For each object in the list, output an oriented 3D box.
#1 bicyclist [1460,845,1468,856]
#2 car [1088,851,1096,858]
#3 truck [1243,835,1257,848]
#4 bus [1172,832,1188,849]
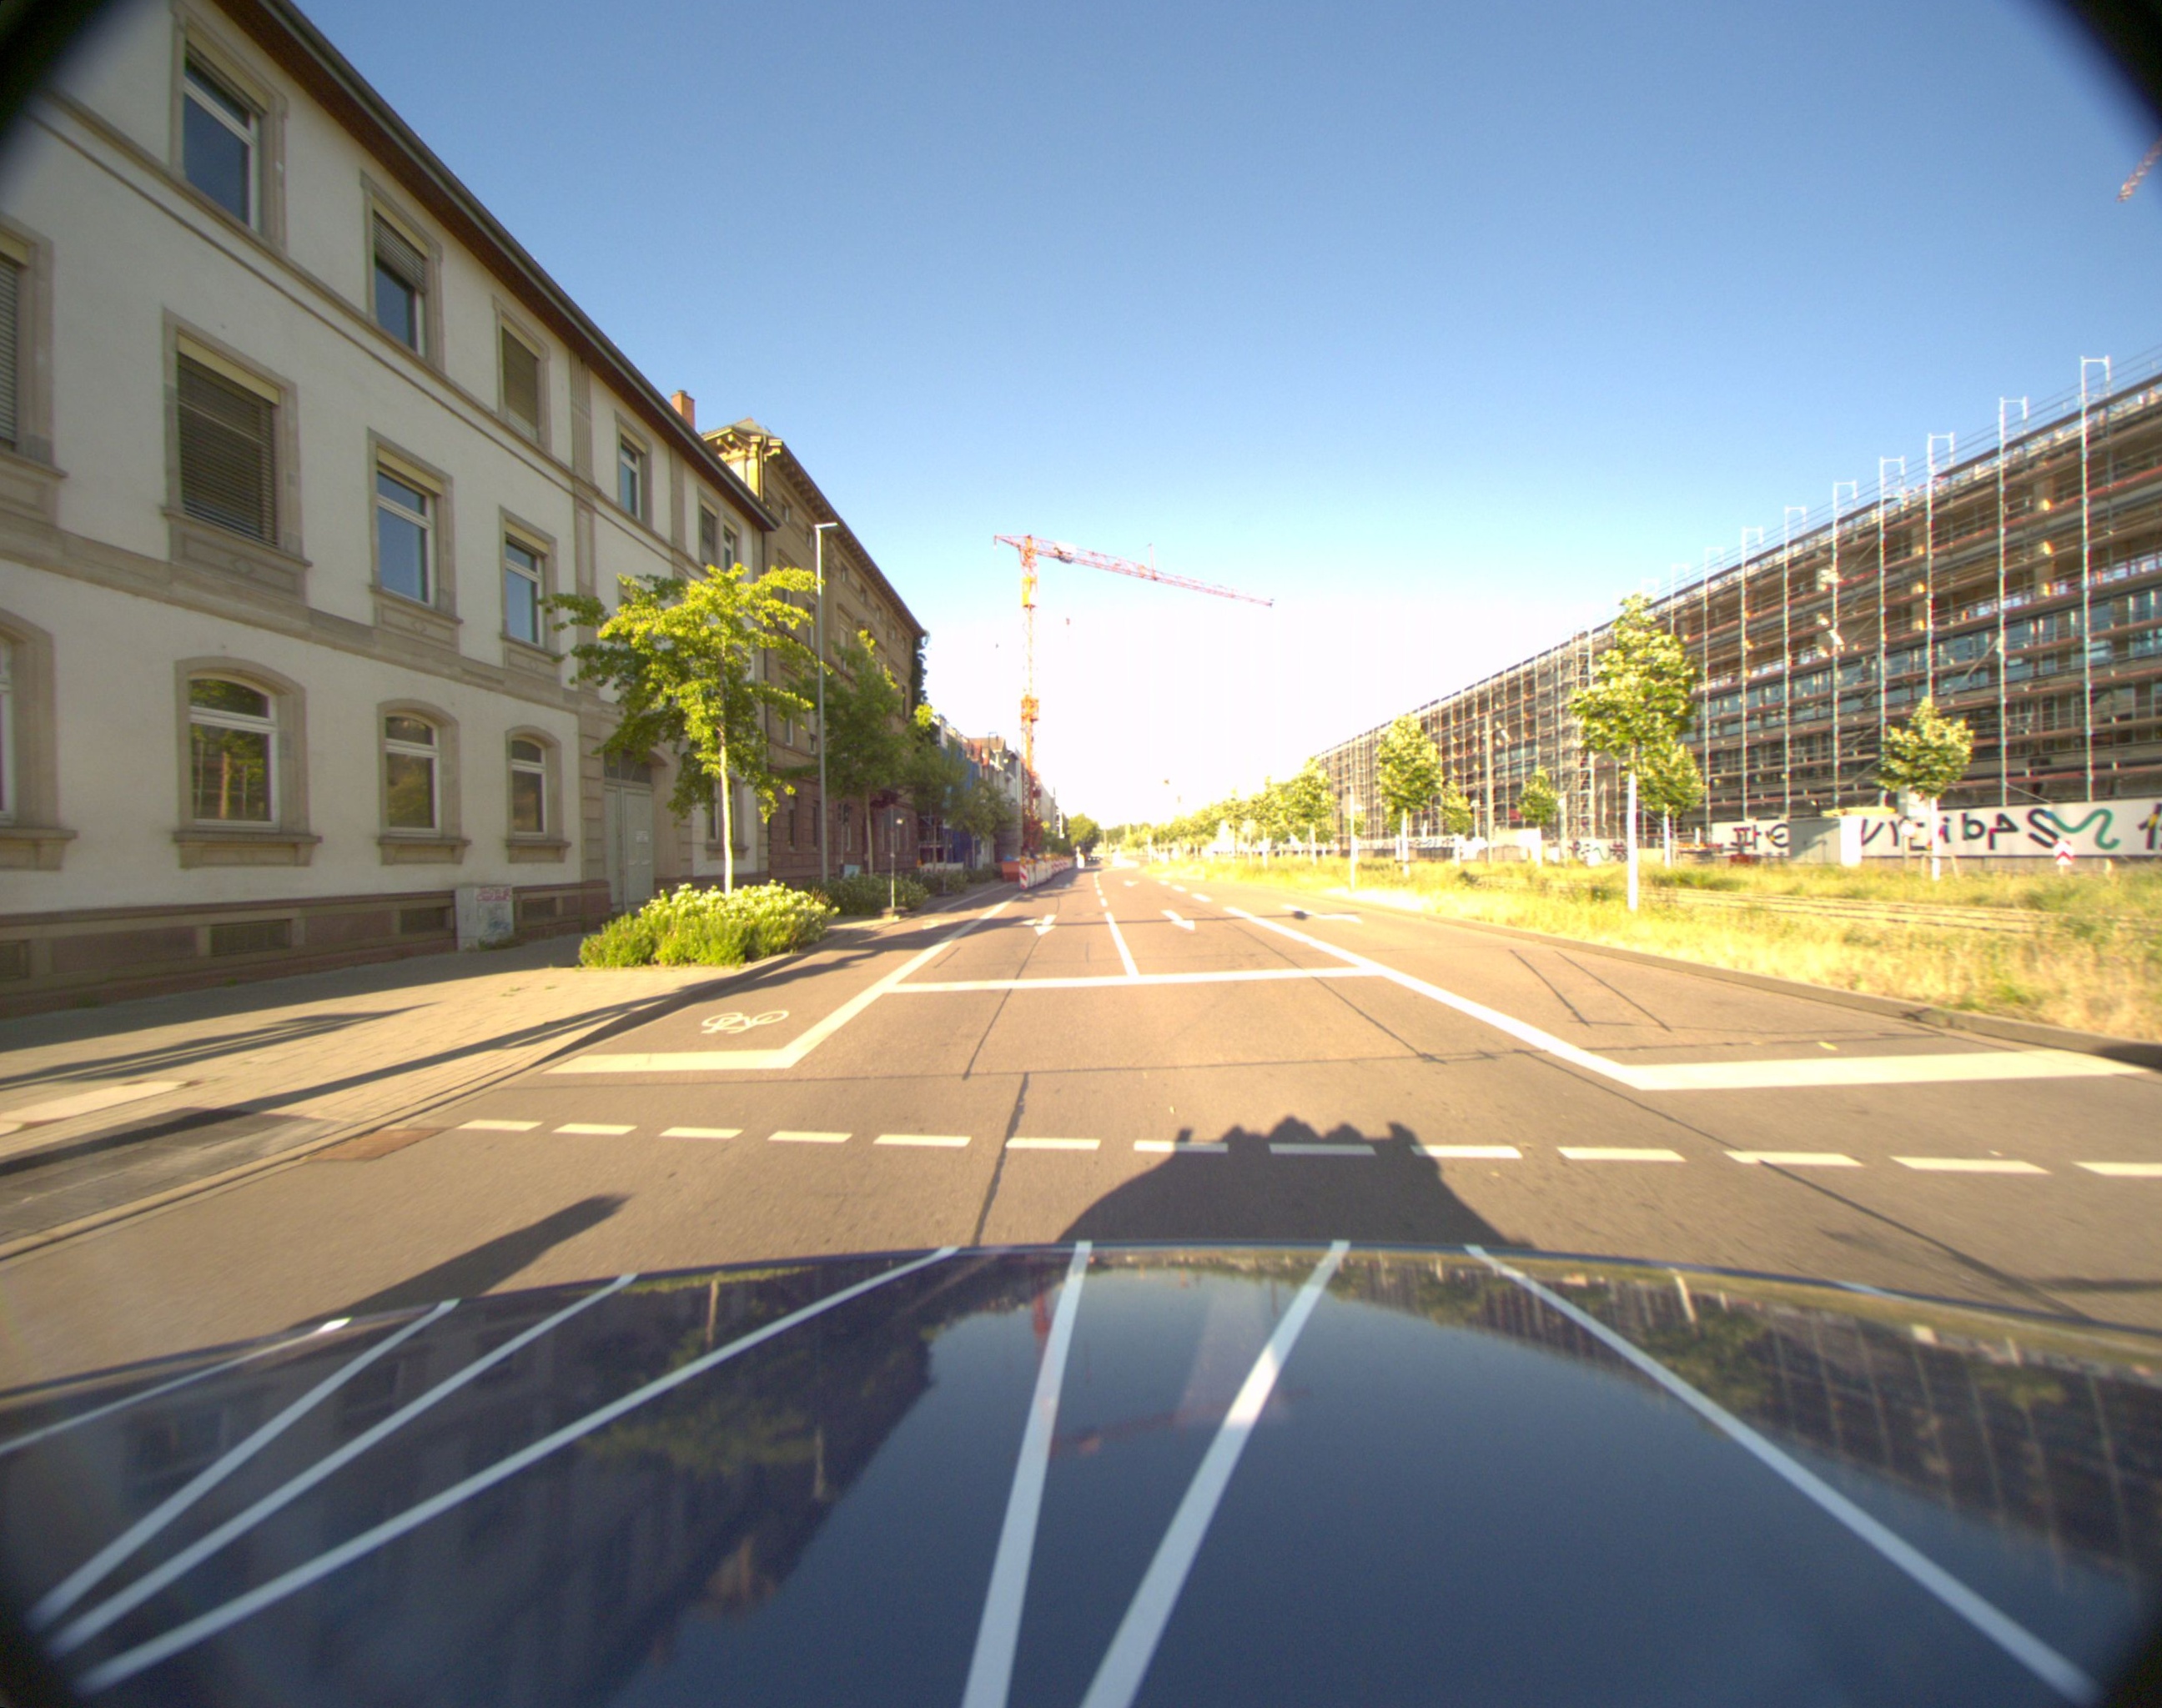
[{"bbox_3d":[38.804,-0.350,77.025,0.480,1.147,0.638,-1,1,1],"label":"bicyclist"},{"bbox_3d":[2.986,0.154,202.655,1.998,1.696,4.000,-1,1,2],"label":"car"},{"bbox_3d":[35.674,-2.648,160.275,2.143,2.559,4.740,-1,0,3],"label":"truck"},{"bbox_3d":[19.332,-2.546,148.147,2.723,3.203,8.659,-1,0,5],"label":"bus"}]
